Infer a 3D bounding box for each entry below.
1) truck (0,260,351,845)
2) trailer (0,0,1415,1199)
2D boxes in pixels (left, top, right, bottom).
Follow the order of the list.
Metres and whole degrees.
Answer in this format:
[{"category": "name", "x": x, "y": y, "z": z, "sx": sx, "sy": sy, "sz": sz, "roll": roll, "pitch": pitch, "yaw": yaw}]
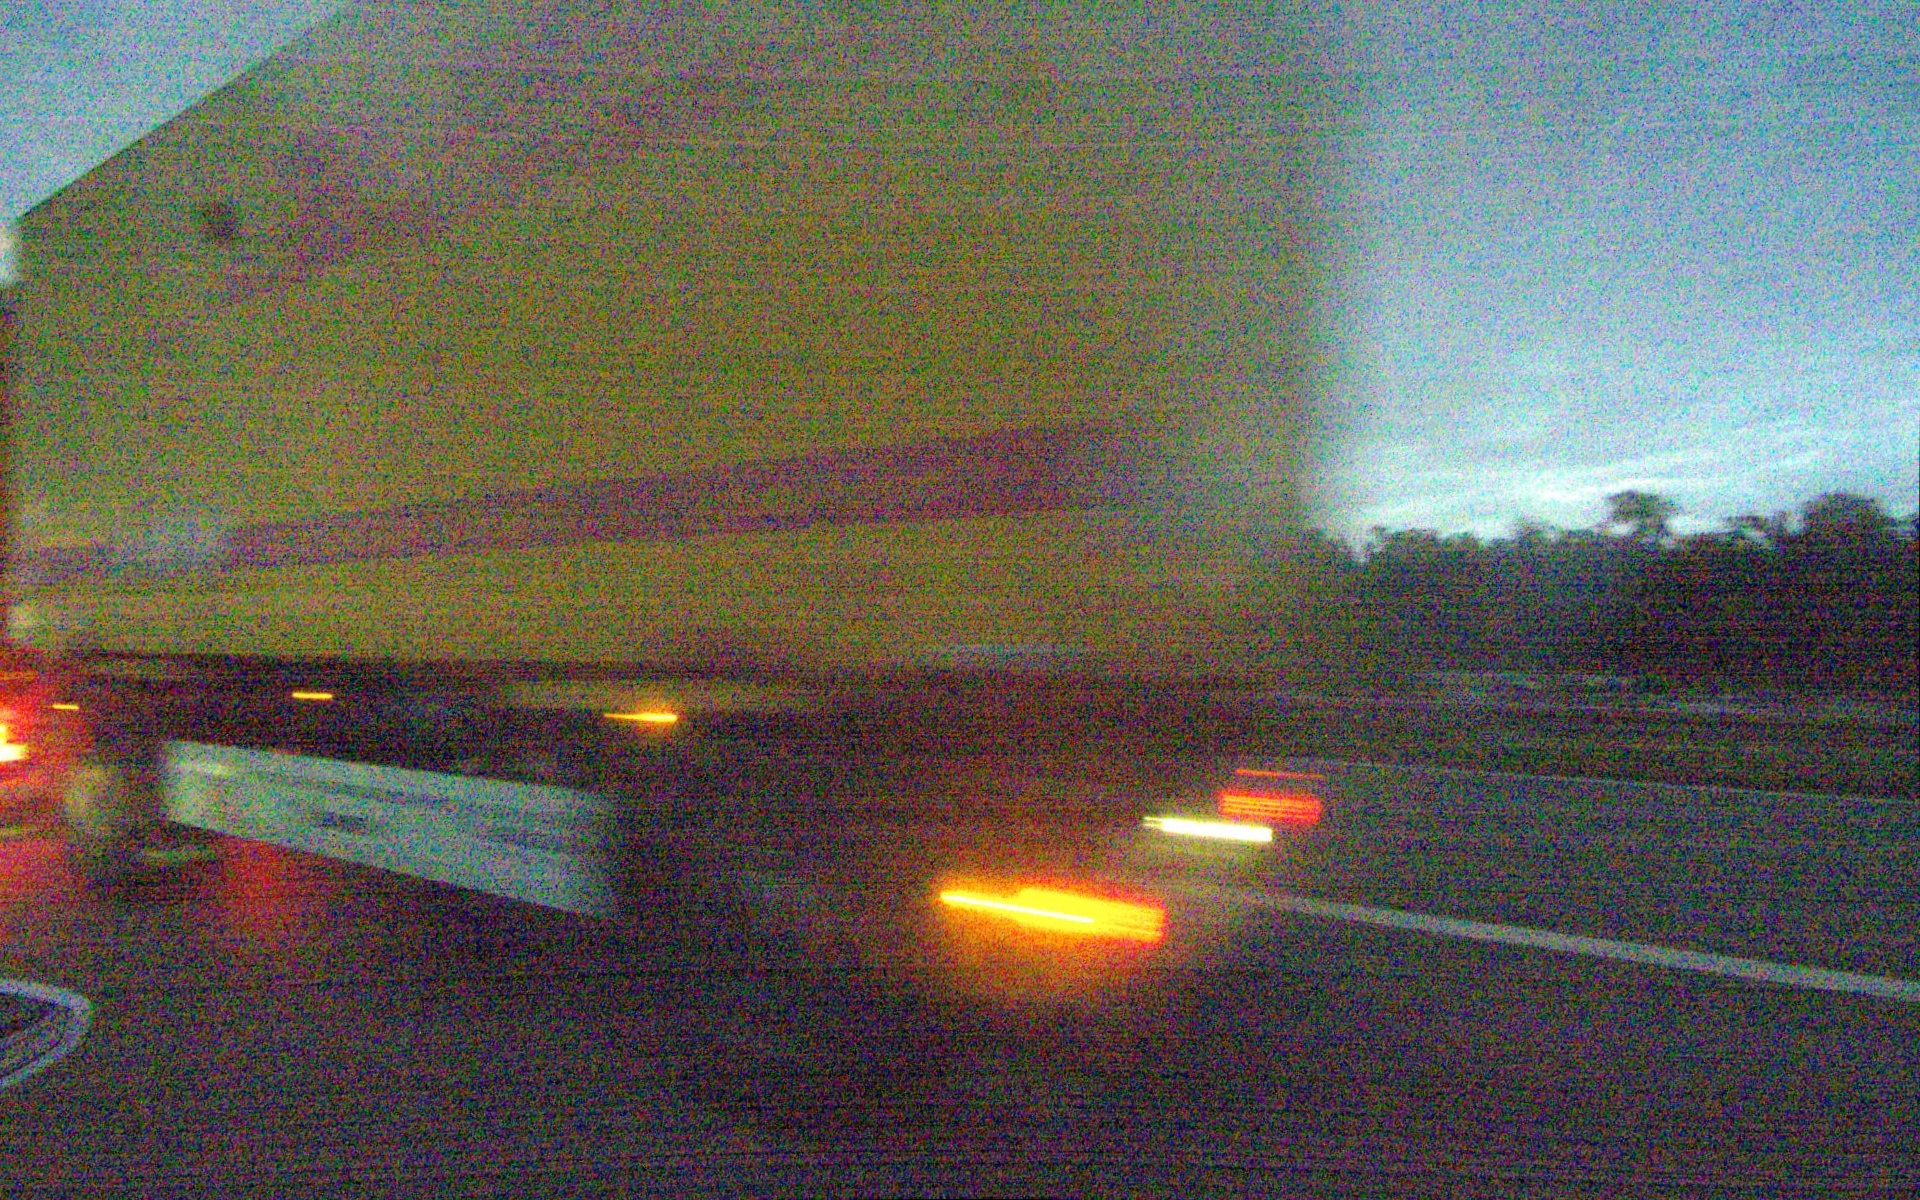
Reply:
[{"category": "truck", "x": -10.631, "y": -0.211, "z": 10.666, "sx": 10.368, "sy": 4.123, "sz": 2.686, "roll": -1, "pitch": -2, "yaw": 32}, {"category": "trailer", "x": -2.411, "y": -0.385, "z": 5.527, "sx": 8.704, "sy": 4.123, "sz": 2.718, "roll": -1, "pitch": -2, "yaw": 32}]
